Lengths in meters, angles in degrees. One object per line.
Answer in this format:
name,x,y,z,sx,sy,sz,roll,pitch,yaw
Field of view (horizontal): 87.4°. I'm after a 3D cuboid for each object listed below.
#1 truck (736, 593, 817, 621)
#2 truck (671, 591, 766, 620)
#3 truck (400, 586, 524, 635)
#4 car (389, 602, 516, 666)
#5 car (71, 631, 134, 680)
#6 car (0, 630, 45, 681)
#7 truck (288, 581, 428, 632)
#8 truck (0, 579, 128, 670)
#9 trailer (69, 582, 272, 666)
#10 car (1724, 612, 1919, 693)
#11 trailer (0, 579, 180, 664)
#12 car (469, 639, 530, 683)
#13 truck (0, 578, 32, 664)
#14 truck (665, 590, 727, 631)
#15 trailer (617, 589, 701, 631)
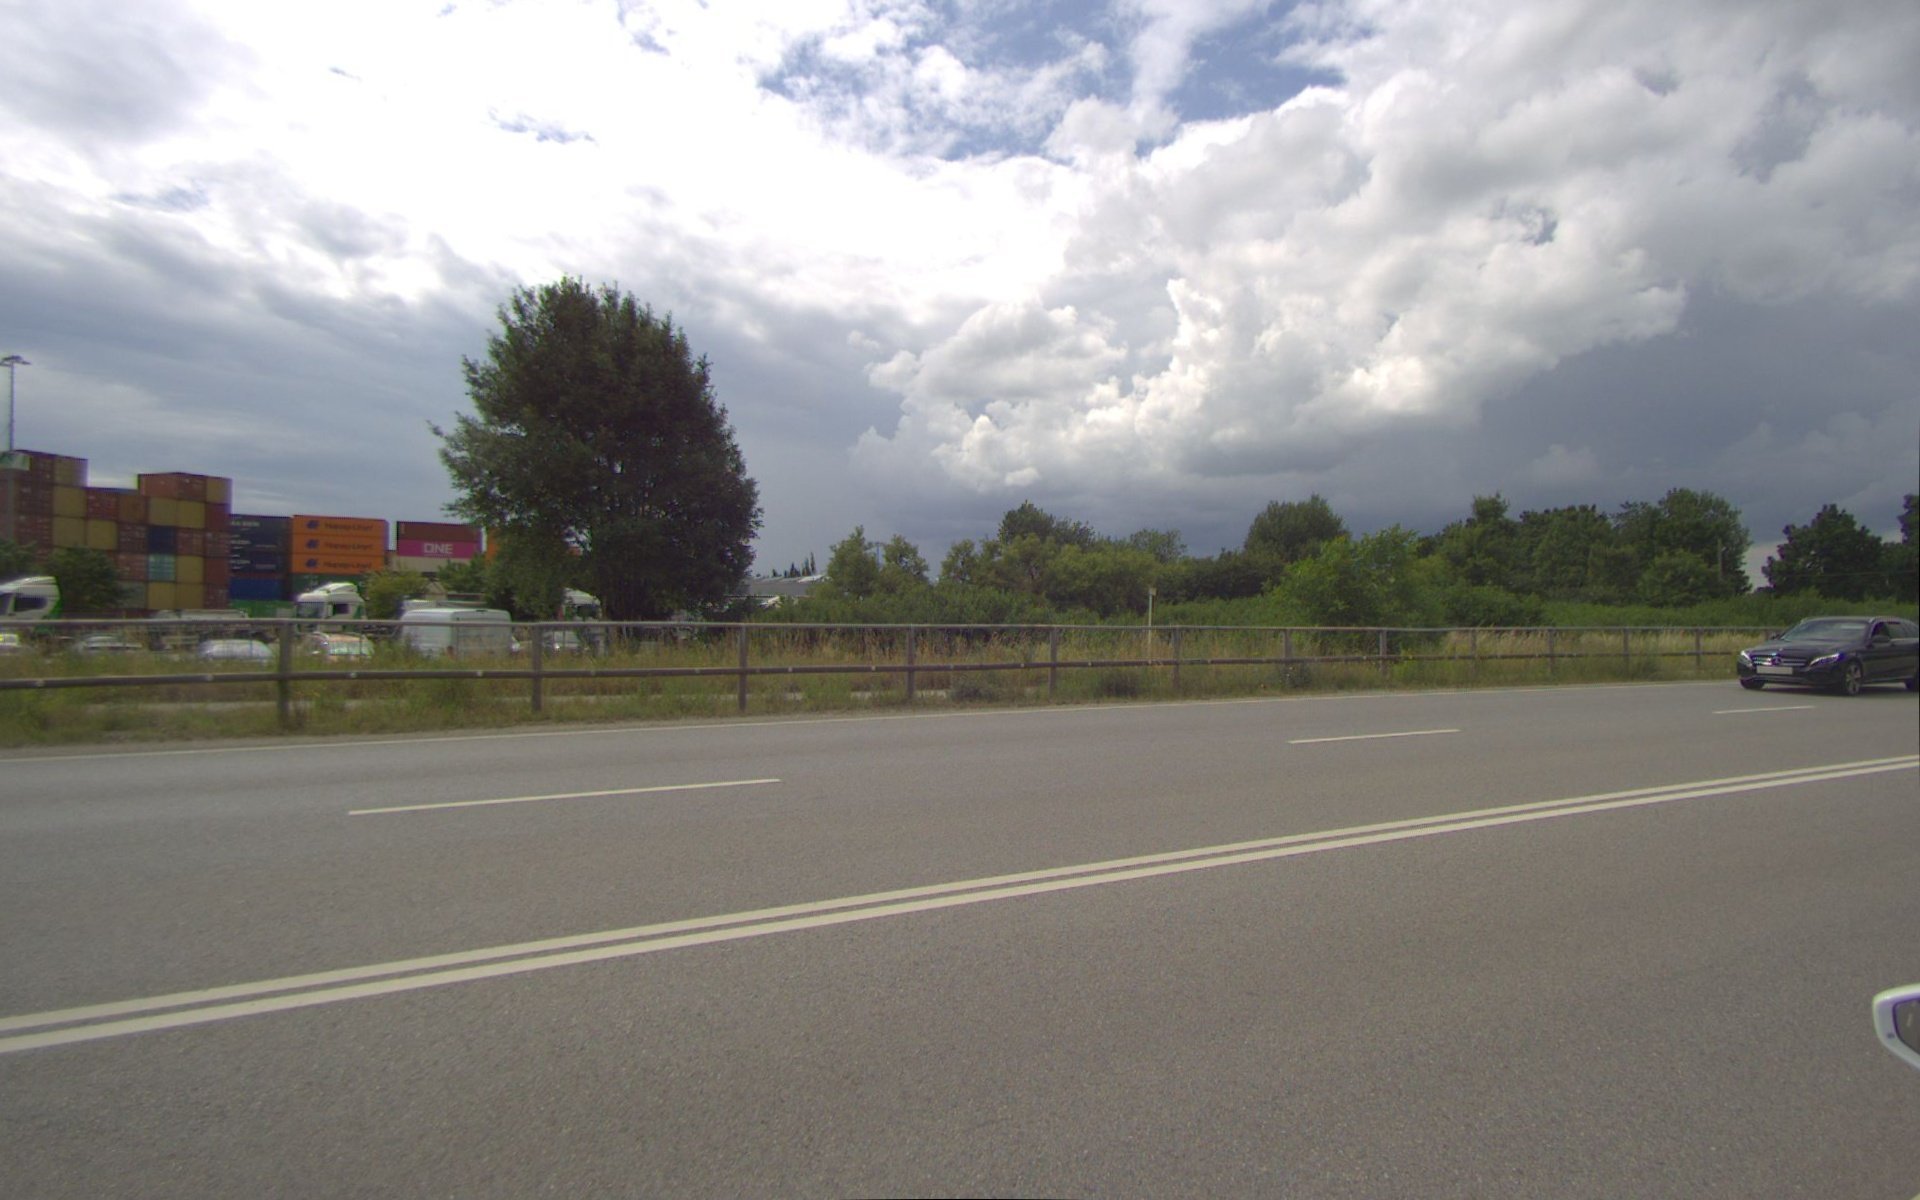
truck,-14.877,0.604,81.415,6.144,2.040,1.988,2,0,-24
truck,-19.103,0.445,79.512,7.035,2.040,1.988,2,0,-24
truck,-29.728,0.634,60.316,2.601,2.718,6.654,1,0,21
car,-16.027,0.997,31.644,4.516,1.758,1.990,2,1,41
car,-34.483,2.169,40.362,1.830,1.742,3.950,1,0,-42
car,-36.249,2.092,38.389,1.830,1.742,3.950,1,0,-42
truck,-34.380,0.369,57.666,2.602,2.718,6.652,1,0,23
truck,-46.126,1.188,51.139,2.155,4.350,5.431,1,0,18
trailer,-44.281,1.280,56.845,2.155,4.350,9.380,1,0,18
car,17.632,1.003,20.202,4.293,1.461,1.803,1,0,-25
trailer,-48.499,1.127,55.745,2.155,4.350,8.502,1,0,18
car,-21.262,2.761,46.311,1.826,1.742,3.959,1,0,-36
truck,-50.209,1.043,50.405,2.155,4.350,4.856,1,0,18
truck,-17.839,0.715,67.887,3.690,2.713,1.983,1,0,-32
trailer,-19.919,0.709,66.565,5.013,2.695,1.983,1,0,-32
